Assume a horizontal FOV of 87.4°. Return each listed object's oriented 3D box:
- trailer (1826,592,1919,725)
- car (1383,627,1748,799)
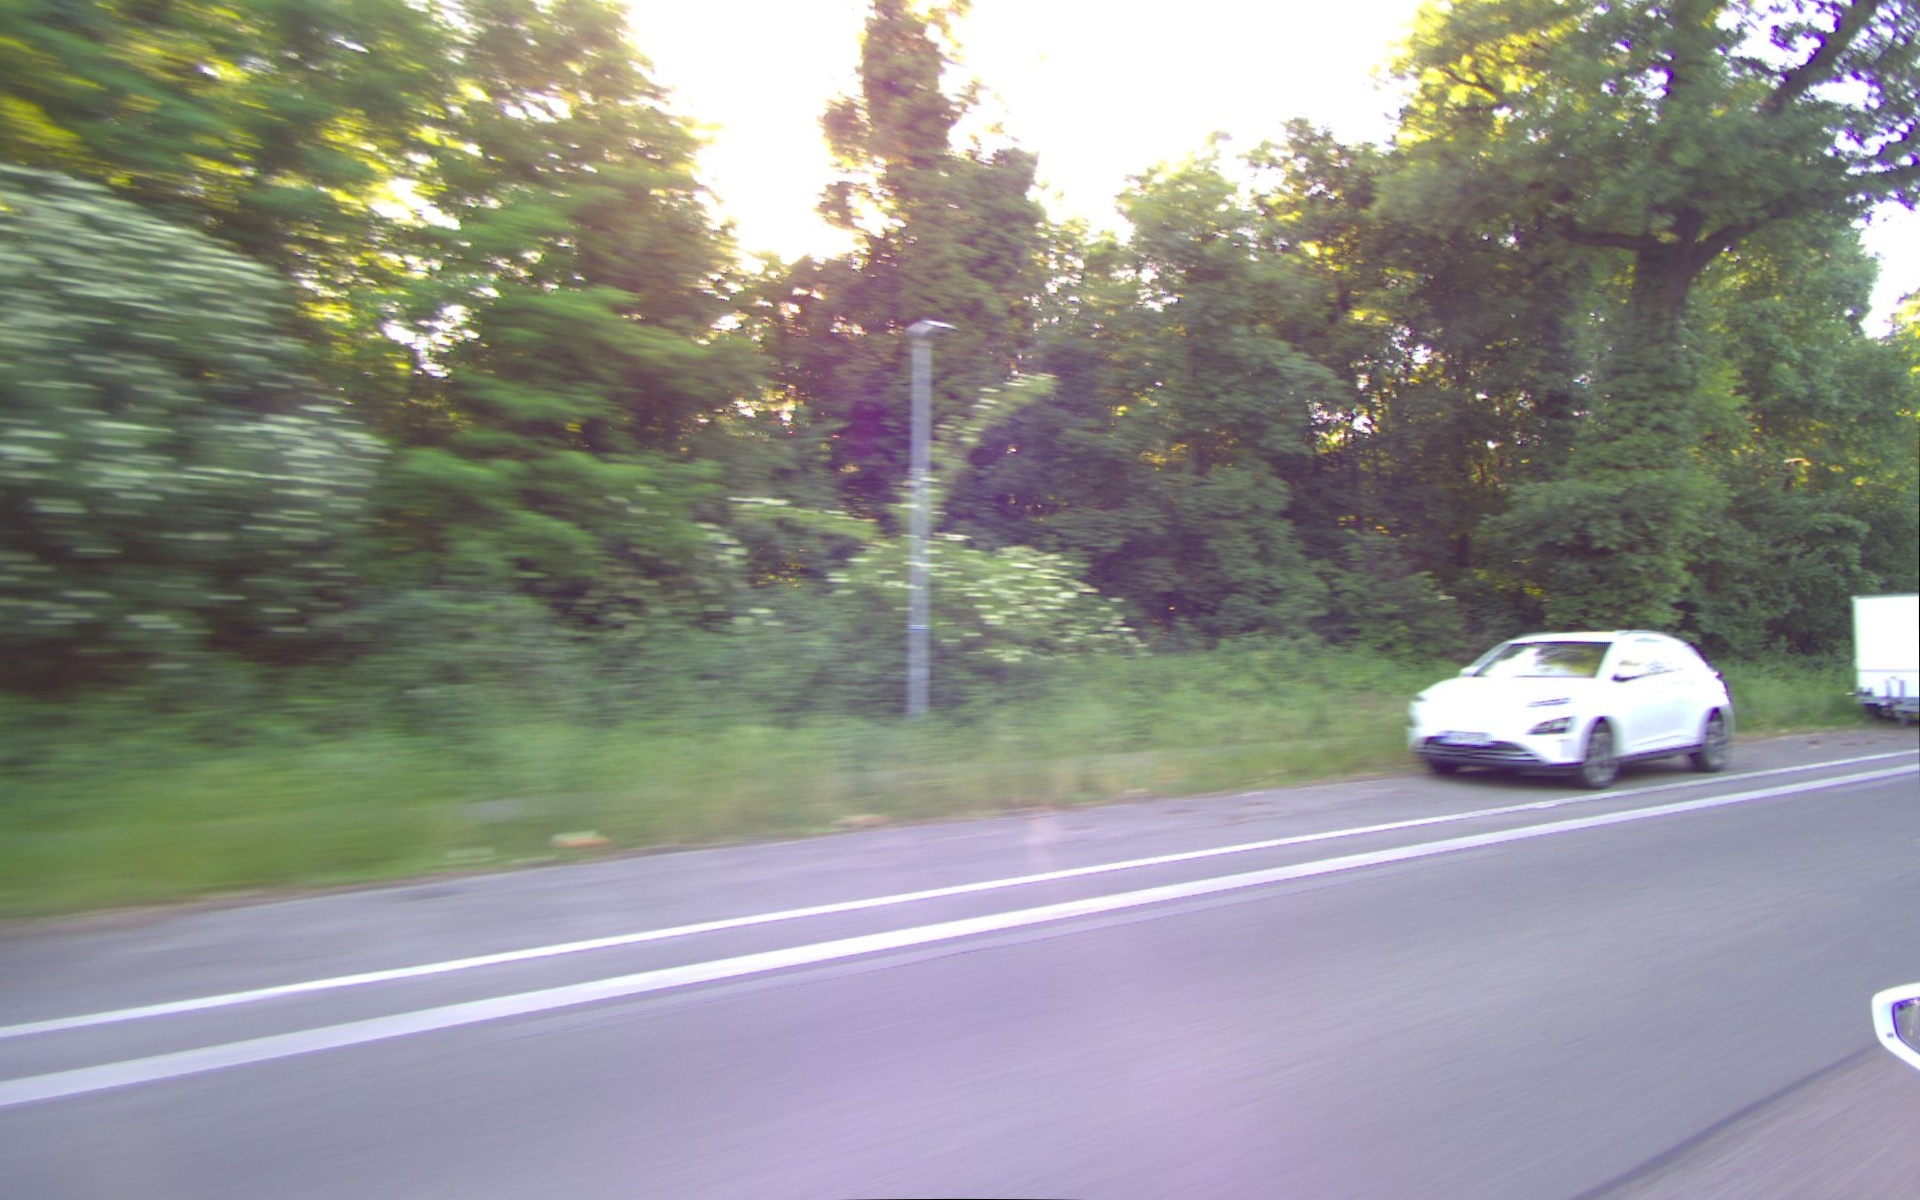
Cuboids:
[{"bbox_3d":[18.066,1.061,18.532,3.443,2.323,2.067,1,-2,-28],"label":"trailer"},{"bbox_3d":[6.823,1.128,11.219,4.161,1.592,1.805,1,-3,-32],"label":"car"}]
